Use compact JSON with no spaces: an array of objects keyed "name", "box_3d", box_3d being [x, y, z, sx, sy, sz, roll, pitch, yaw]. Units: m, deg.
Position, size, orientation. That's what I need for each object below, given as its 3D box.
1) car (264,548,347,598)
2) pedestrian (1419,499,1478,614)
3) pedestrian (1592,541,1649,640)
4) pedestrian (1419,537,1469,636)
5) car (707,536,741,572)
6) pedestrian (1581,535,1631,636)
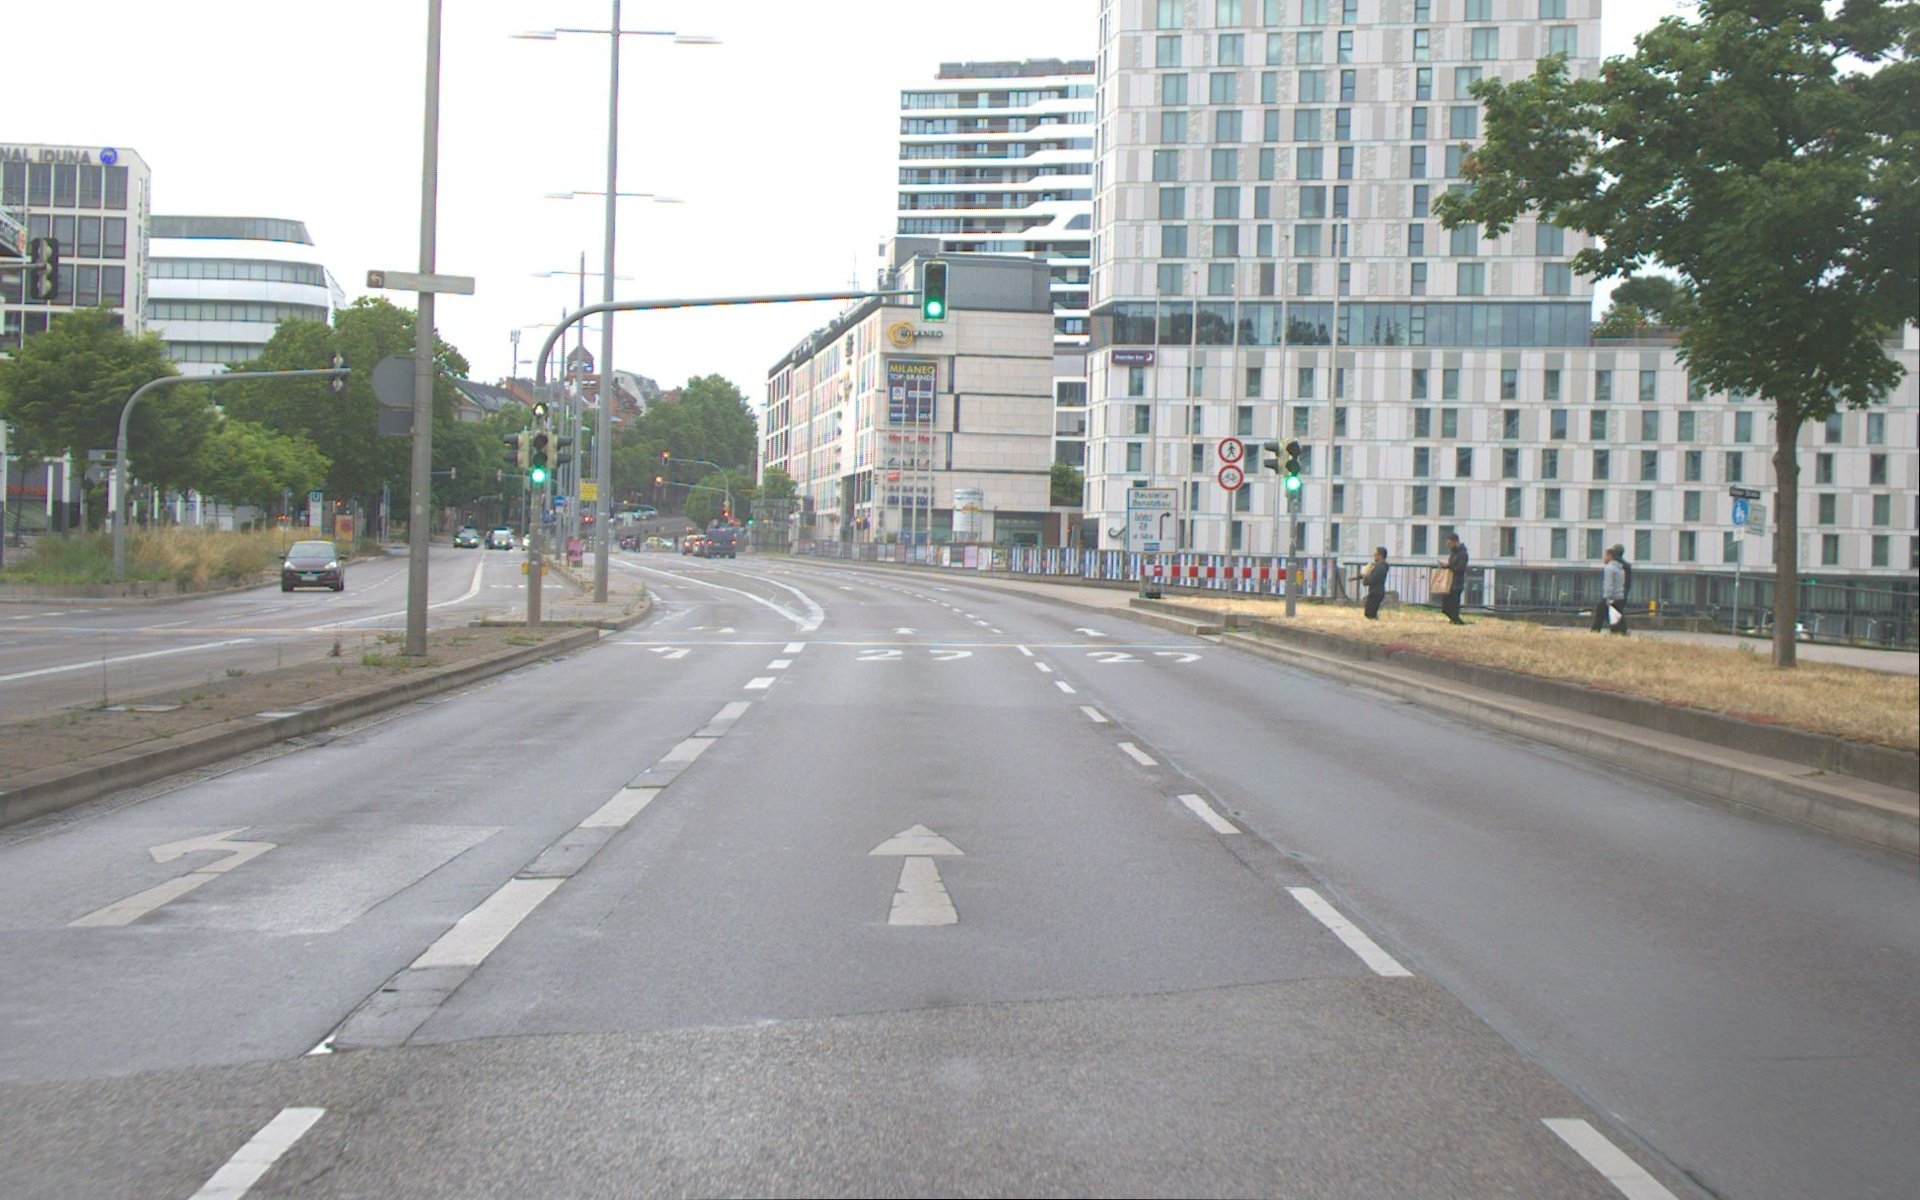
[{"name":"car","box_3d":[-18.760,-0.788,98.640,1.748,1.403,3.725,1,1,-2]},{"name":"pedestrian","box_3d":[7.891,-0.709,55.531,0.781,1.835,0.551,-2,3,-44]},{"name":"pedestrian","box_3d":[10.704,-0.157,55.686,0.670,1.572,0.667,2,3,37]},{"name":"pedestrian","box_3d":[7.848,-0.220,55.711,0.550,1.572,0.669,2,3,33]},{"name":"car","box_3d":[-15.857,-3.103,230.951,1.993,2.335,4.000,-3,1,-2]},{"name":"pedestrian","box_3d":[10.295,-0.232,54.767,0.550,1.572,0.669,2,3,33]}]
